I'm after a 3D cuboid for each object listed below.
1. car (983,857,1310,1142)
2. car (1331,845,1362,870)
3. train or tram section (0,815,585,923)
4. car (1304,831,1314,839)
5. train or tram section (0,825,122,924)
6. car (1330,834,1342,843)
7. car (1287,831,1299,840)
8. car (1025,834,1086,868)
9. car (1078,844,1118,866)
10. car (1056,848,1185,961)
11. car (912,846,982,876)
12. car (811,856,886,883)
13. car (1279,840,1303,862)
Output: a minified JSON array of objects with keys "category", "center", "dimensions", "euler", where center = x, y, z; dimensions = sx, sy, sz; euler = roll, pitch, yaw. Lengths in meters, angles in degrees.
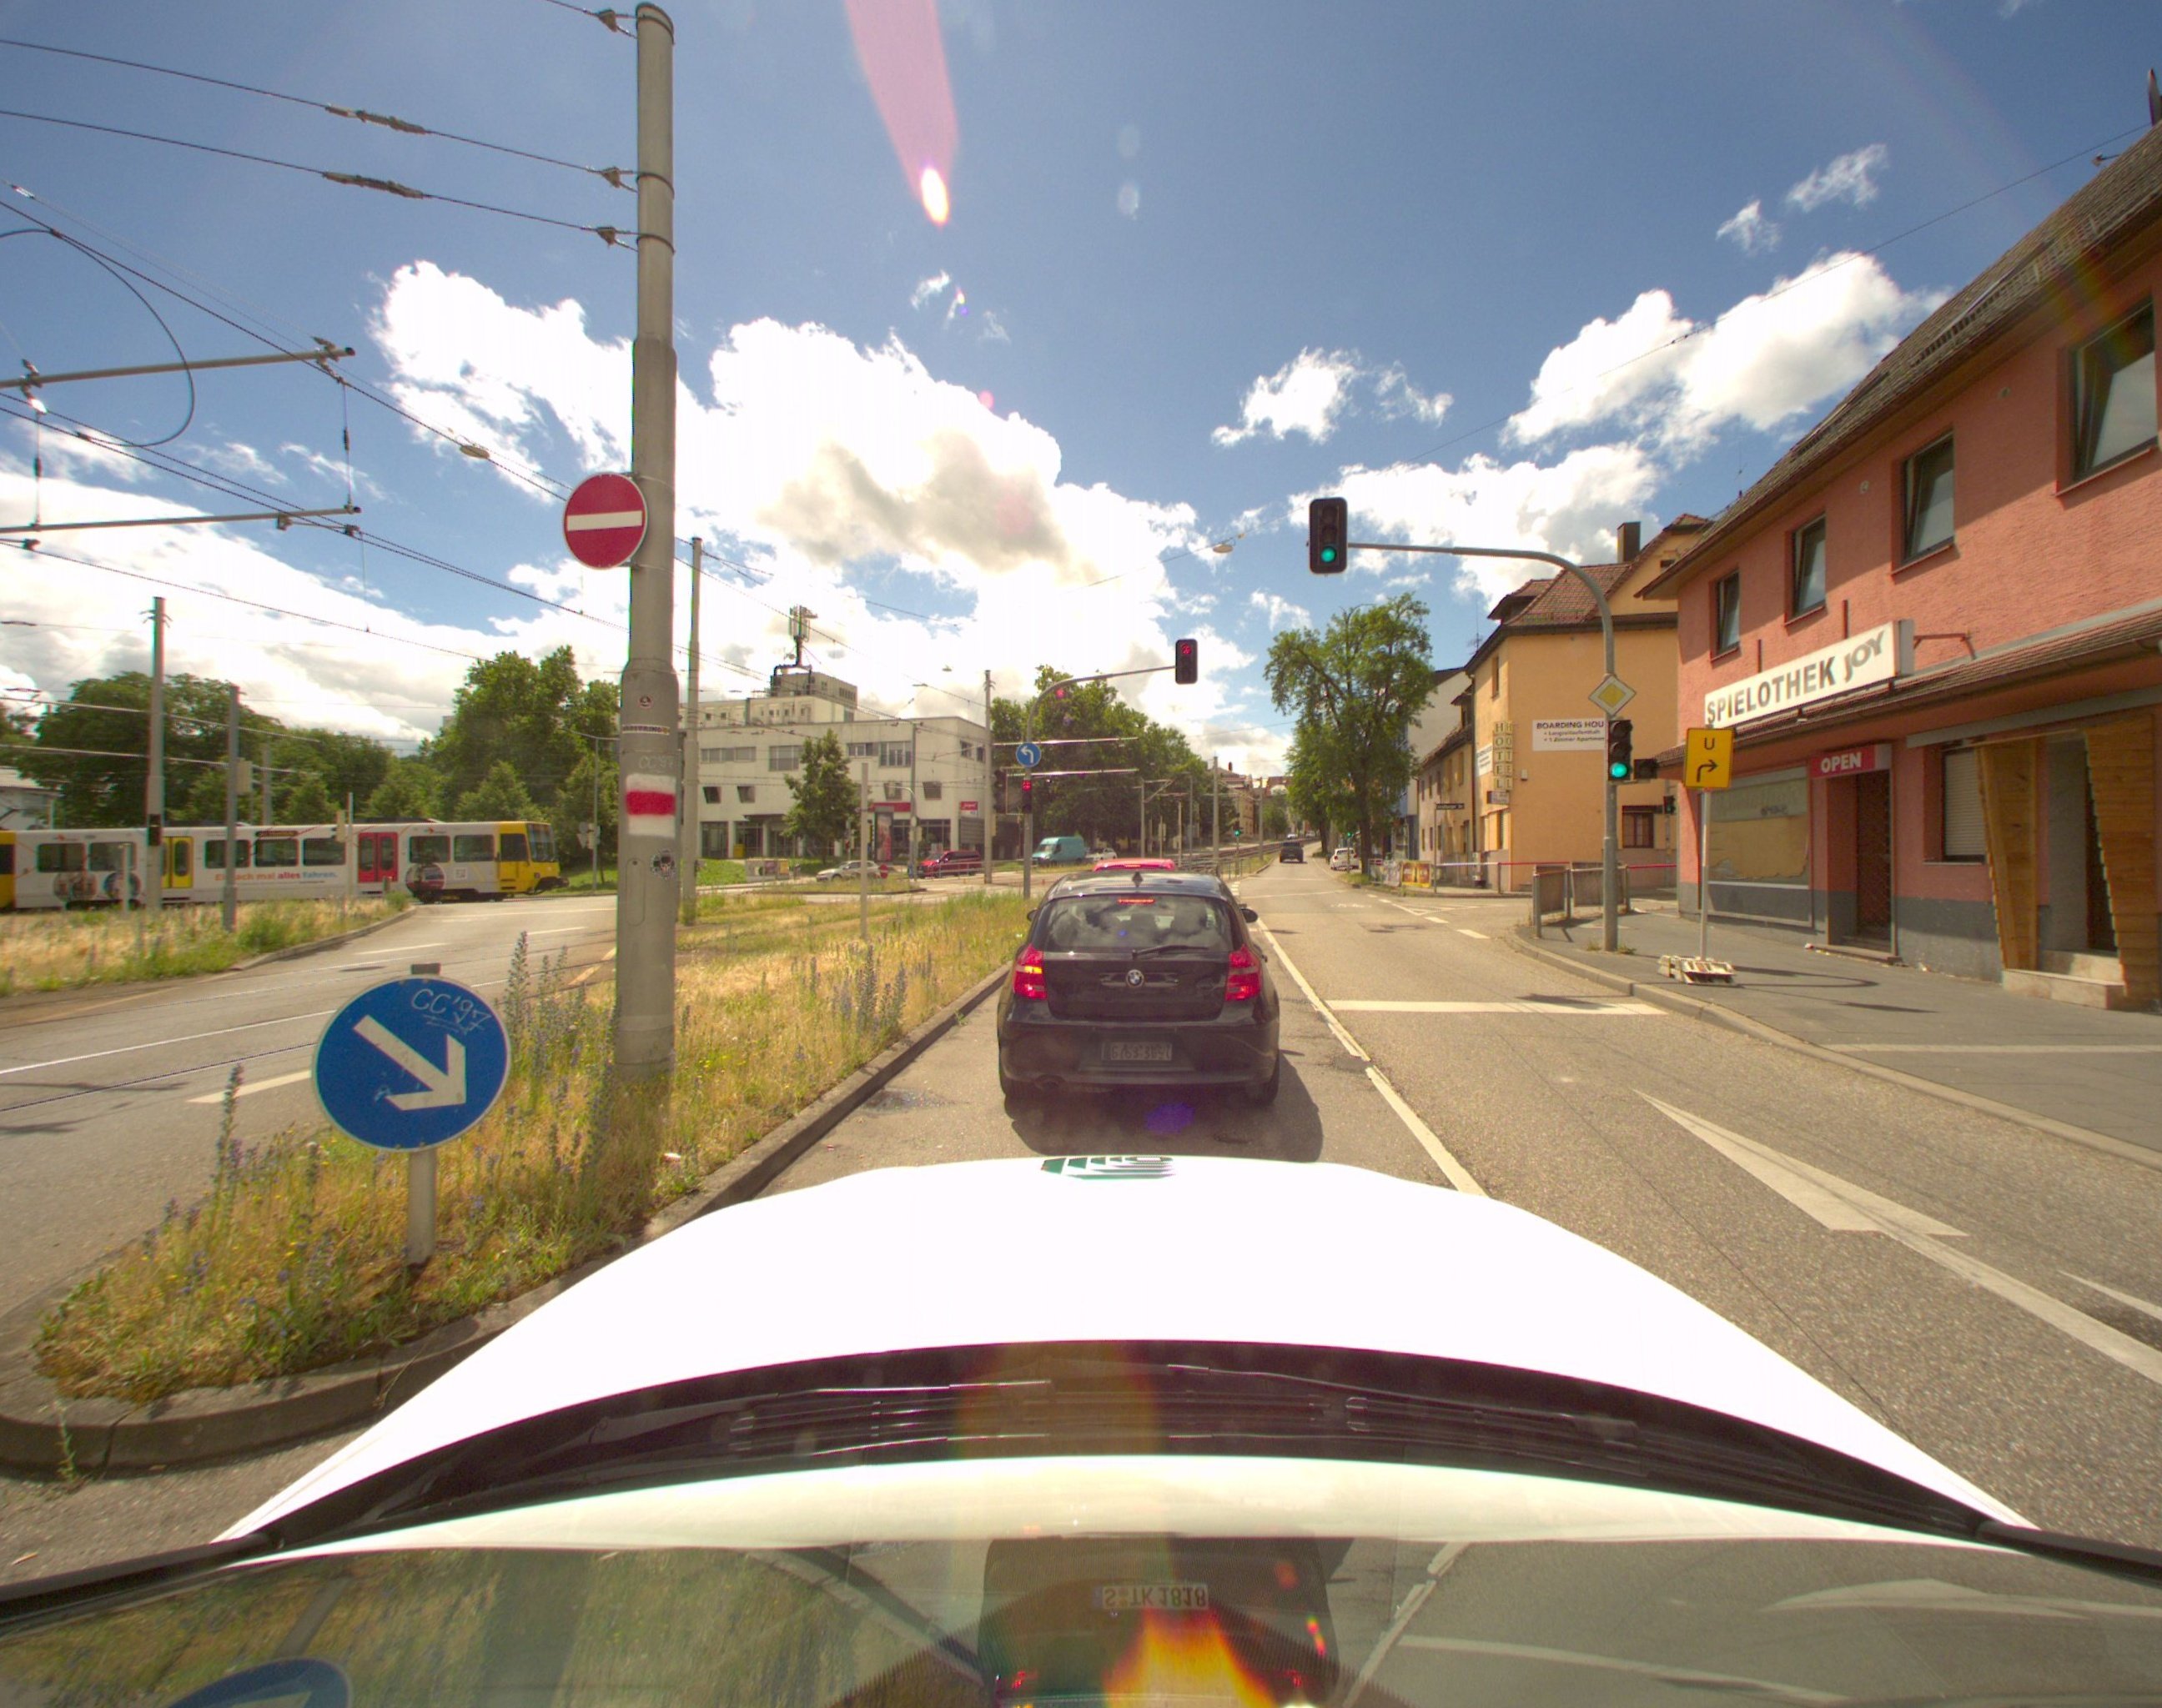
[{"category":"car","center":[0.337,0.797,6.320],"dimensions":[1.696,1.452,3.999],"euler":[-2,-1,0]},{"category":"car","center":[18.076,0.221,55.651],"dimensions":[1.774,1.596,4.016],"euler":[-2,-1,15]},{"category":"train or tram section","center":[-32.908,0.564,34.738],"dimensions":[19.980,3.814,3.749],"euler":[-2,-1,-9]},{"category":"car","center":[57.702,-4.781,206.018],"dimensions":[1.976,2.014,4.022],"euler":[-2,-1,23]},{"category":"train or tram section","center":[-52.094,1.124,34.841],"dimensions":[20.453,3.879,3.769],"euler":[-2,-1,7]},{"category":"car","center":[51.260,-3.078,163.735],"dimensions":[1.977,1.662,4.020],"euler":[-2,-1,20]},{"category":"car","center":[48.664,-4.241,186.915],"dimensions":[1.976,2.014,4.022],"euler":[-2,-1,23]},{"category":"car","center":[-2.049,-0.237,67.568],"dimensions":[2.110,2.654,5.726],"euler":[-2,-1,33]},{"category":"car","center":[1.595,0.106,73.743],"dimensions":[1.836,1.928,4.824],"euler":[-2,-1,24]},{"category":"car","center":[0.771,0.700,12.842],"dimensions":[1.616,1.473,4.009],"euler":[-2,-1,8]},{"category":"car","center":[-9.410,0.475,57.422],"dimensions":[1.835,2.009,4.828],"euler":[-3,-1,40]},{"category":"car","center":[-14.819,0.962,51.951],"dimensions":[4.192,1.585,1.836],"euler":[-1,-1,-42]},{"category":"car","center":[18.538,-0.234,71.875],"dimensions":[1.984,1.887,5.170],"euler":[-2,-1,15]}]
